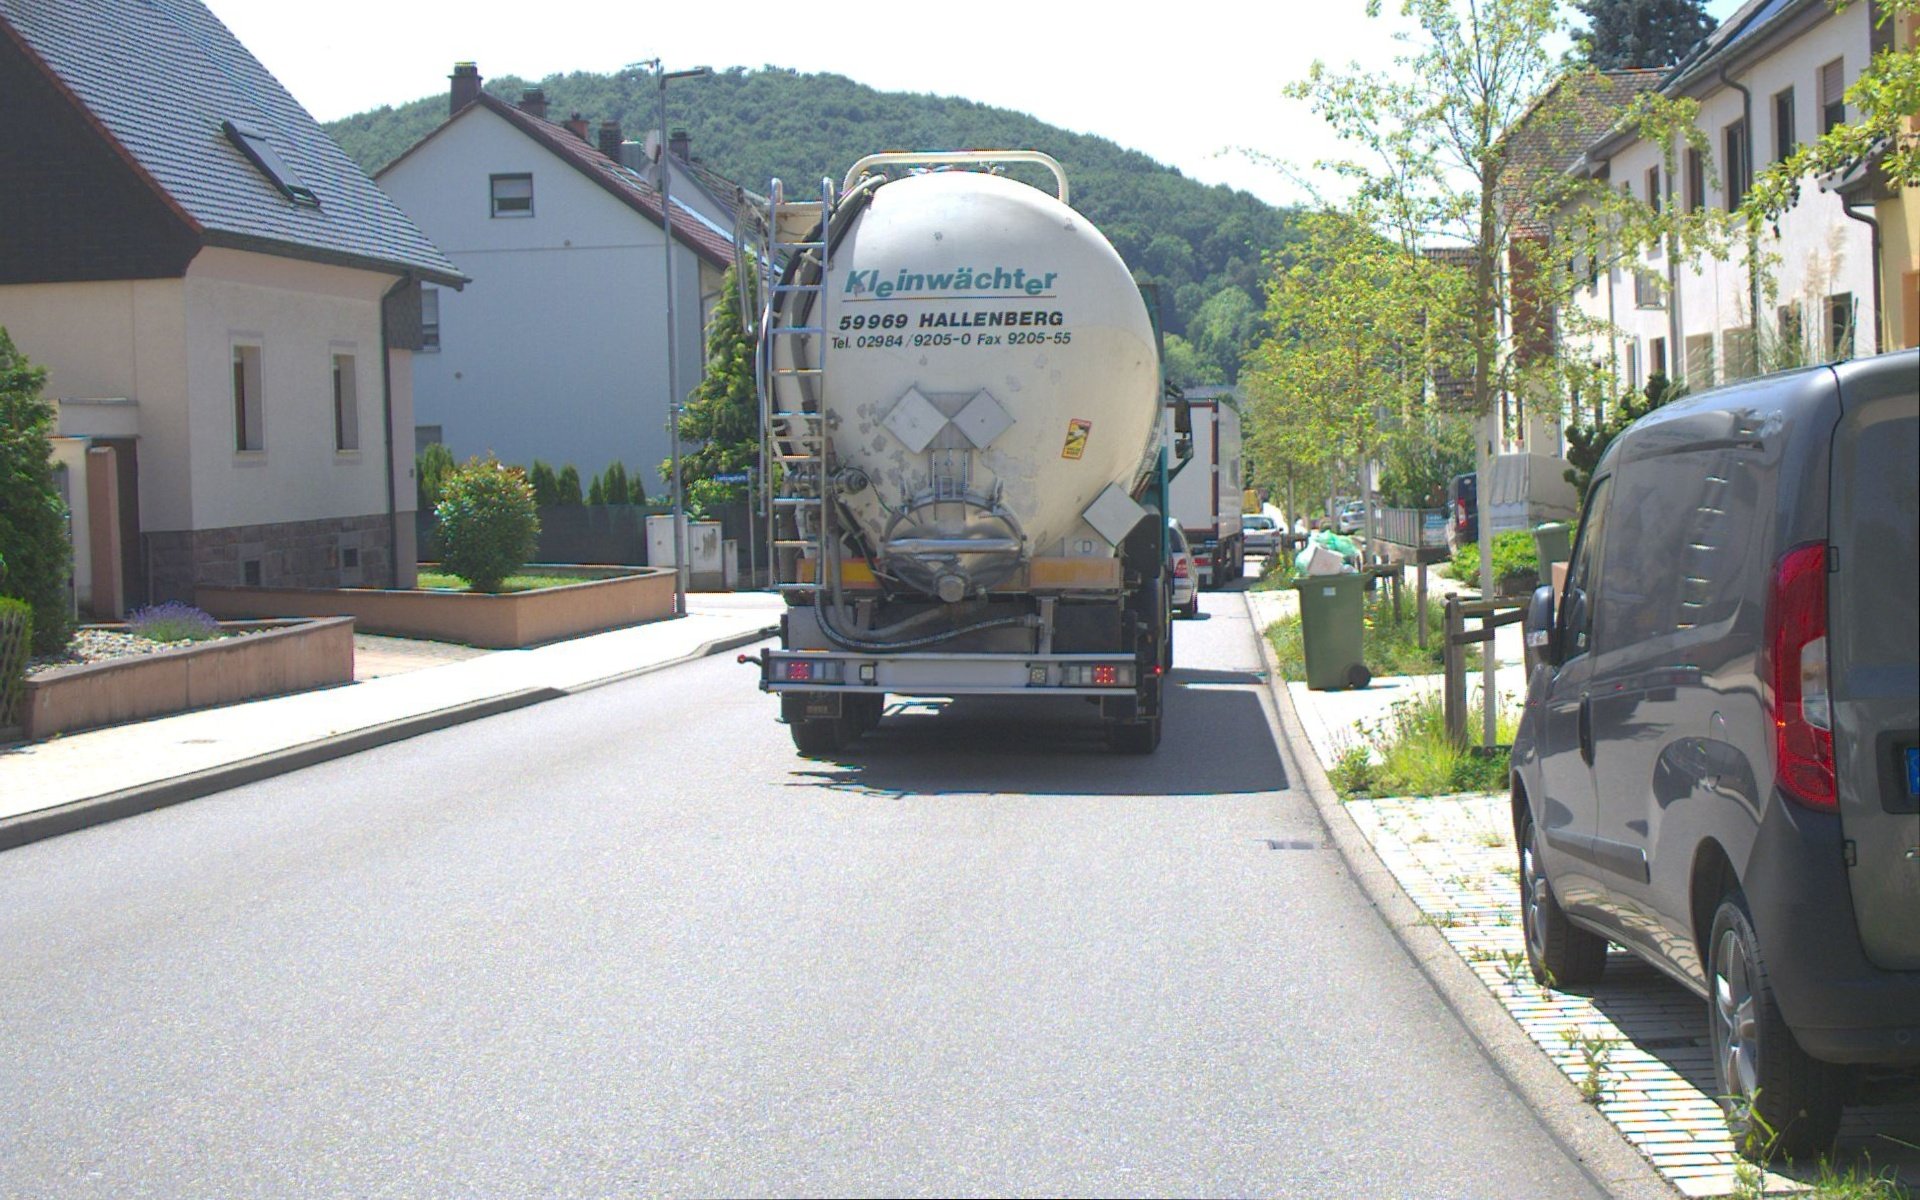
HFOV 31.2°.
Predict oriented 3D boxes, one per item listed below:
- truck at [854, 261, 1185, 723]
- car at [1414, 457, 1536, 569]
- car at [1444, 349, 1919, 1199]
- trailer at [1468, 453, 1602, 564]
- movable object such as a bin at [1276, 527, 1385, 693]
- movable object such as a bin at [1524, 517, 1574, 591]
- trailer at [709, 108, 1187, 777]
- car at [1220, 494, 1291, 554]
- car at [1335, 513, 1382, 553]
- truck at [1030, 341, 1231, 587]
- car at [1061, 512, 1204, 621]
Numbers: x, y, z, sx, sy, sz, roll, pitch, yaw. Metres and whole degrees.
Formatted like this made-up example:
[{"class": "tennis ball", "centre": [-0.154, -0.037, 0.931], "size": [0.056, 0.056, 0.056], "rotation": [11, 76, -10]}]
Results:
[{"class": "truck", "centre": [0.672, -1.017, 32.342], "size": [2.809, 3.923, 6.099], "rotation": [0, 2, 3]}, {"class": "car", "centre": [10.216, -1.723, 68.480], "size": [1.852, 1.964, 4.773], "rotation": [-6, 1, 4]}, {"class": "car", "centre": [2.589, 0.308, 9.582], "size": [1.855, 1.836, 4.671], "rotation": [-2, 1, 1]}, {"class": "trailer", "centre": [10.618, -1.683, 63.457], "size": [2.267, 2.007, 1.324], "rotation": [-2, 2, -43]}, {"class": "movable object such as a bin", "centre": [3.292, 0.078, 30.628], "size": [0.792, 1.390, 0.925], "rotation": [-5, 1, 2]}, {"class": "movable object such as a bin", "centre": [9.296, -0.727, 54.260], "size": [0.684, 1.111, 0.812], "rotation": [-5, 0, 10]}, {"class": "trailer", "centre": [0.265, -1.084, 25.765], "size": [2.796, 3.987, 10.323], "rotation": [0, 2, 4]}, {"class": "car", "centre": [9.055, -2.337, 105.692], "size": [1.994, 1.815, 4.000], "rotation": [0, 1, 3]}, {"class": "car", "centre": [15.834, -2.670, 136.758], "size": [1.791, 1.536, 4.519], "rotation": [-1, 1, 6]}, {"class": "truck", "centre": [3.689, -2.911, 75.167], "size": [3.910, 4.878, 9.796], "rotation": [-2, 1, 2]}, {"class": "car", "centre": [2.723, -0.554, 53.520], "size": [1.909, 1.549, 3.999], "rotation": [-2, 1, 7]}]
